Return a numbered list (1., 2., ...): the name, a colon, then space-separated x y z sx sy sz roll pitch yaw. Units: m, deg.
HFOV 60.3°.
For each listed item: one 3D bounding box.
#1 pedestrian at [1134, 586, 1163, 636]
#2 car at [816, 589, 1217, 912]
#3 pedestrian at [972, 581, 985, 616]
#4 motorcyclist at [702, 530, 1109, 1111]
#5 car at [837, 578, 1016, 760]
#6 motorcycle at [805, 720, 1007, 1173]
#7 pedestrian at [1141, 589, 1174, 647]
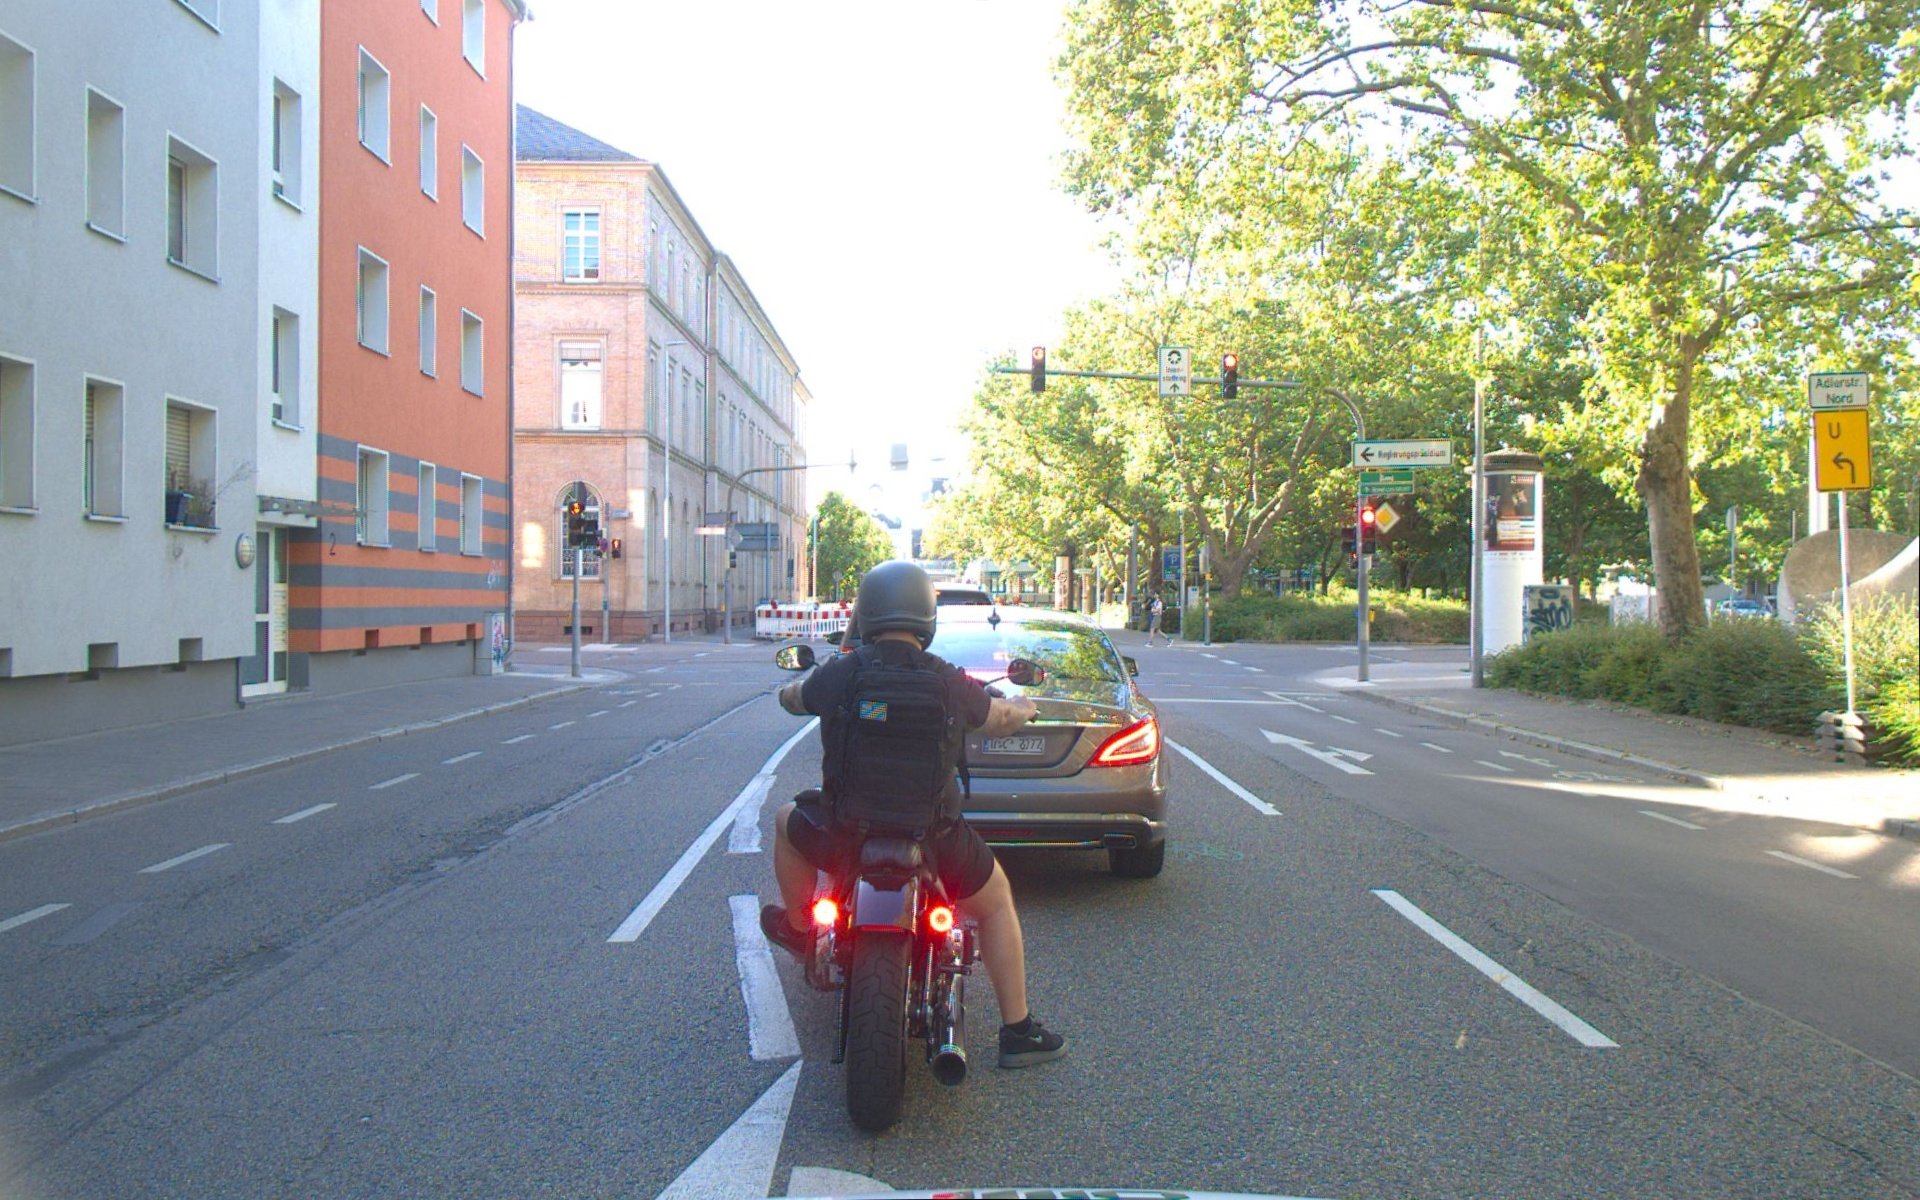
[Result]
1. pedestrian: 7.431 0.448 65.216 0.741 1.943 0.917 1 -1 -29
2. car: 0.237 0.692 9.609 1.844 1.475 3.819 1 0 -1
3. pedestrian: 1.123 -0.093 100.683 0.748 2.087 0.712 1 -1 -1
4. motorcyclist: -0.160 0.629 5.327 1.125 1.626 1.288 1 0 -1
5. car: -0.330 0.604 16.717 1.588 1.622 3.999 0 0 -1
6. motorcycle: -0.153 0.967 5.270 0.503 1.020 2.013 1 0 -1
7. pedestrian: 6.371 0.580 53.422 0.980 1.858 1.077 1 0 5
